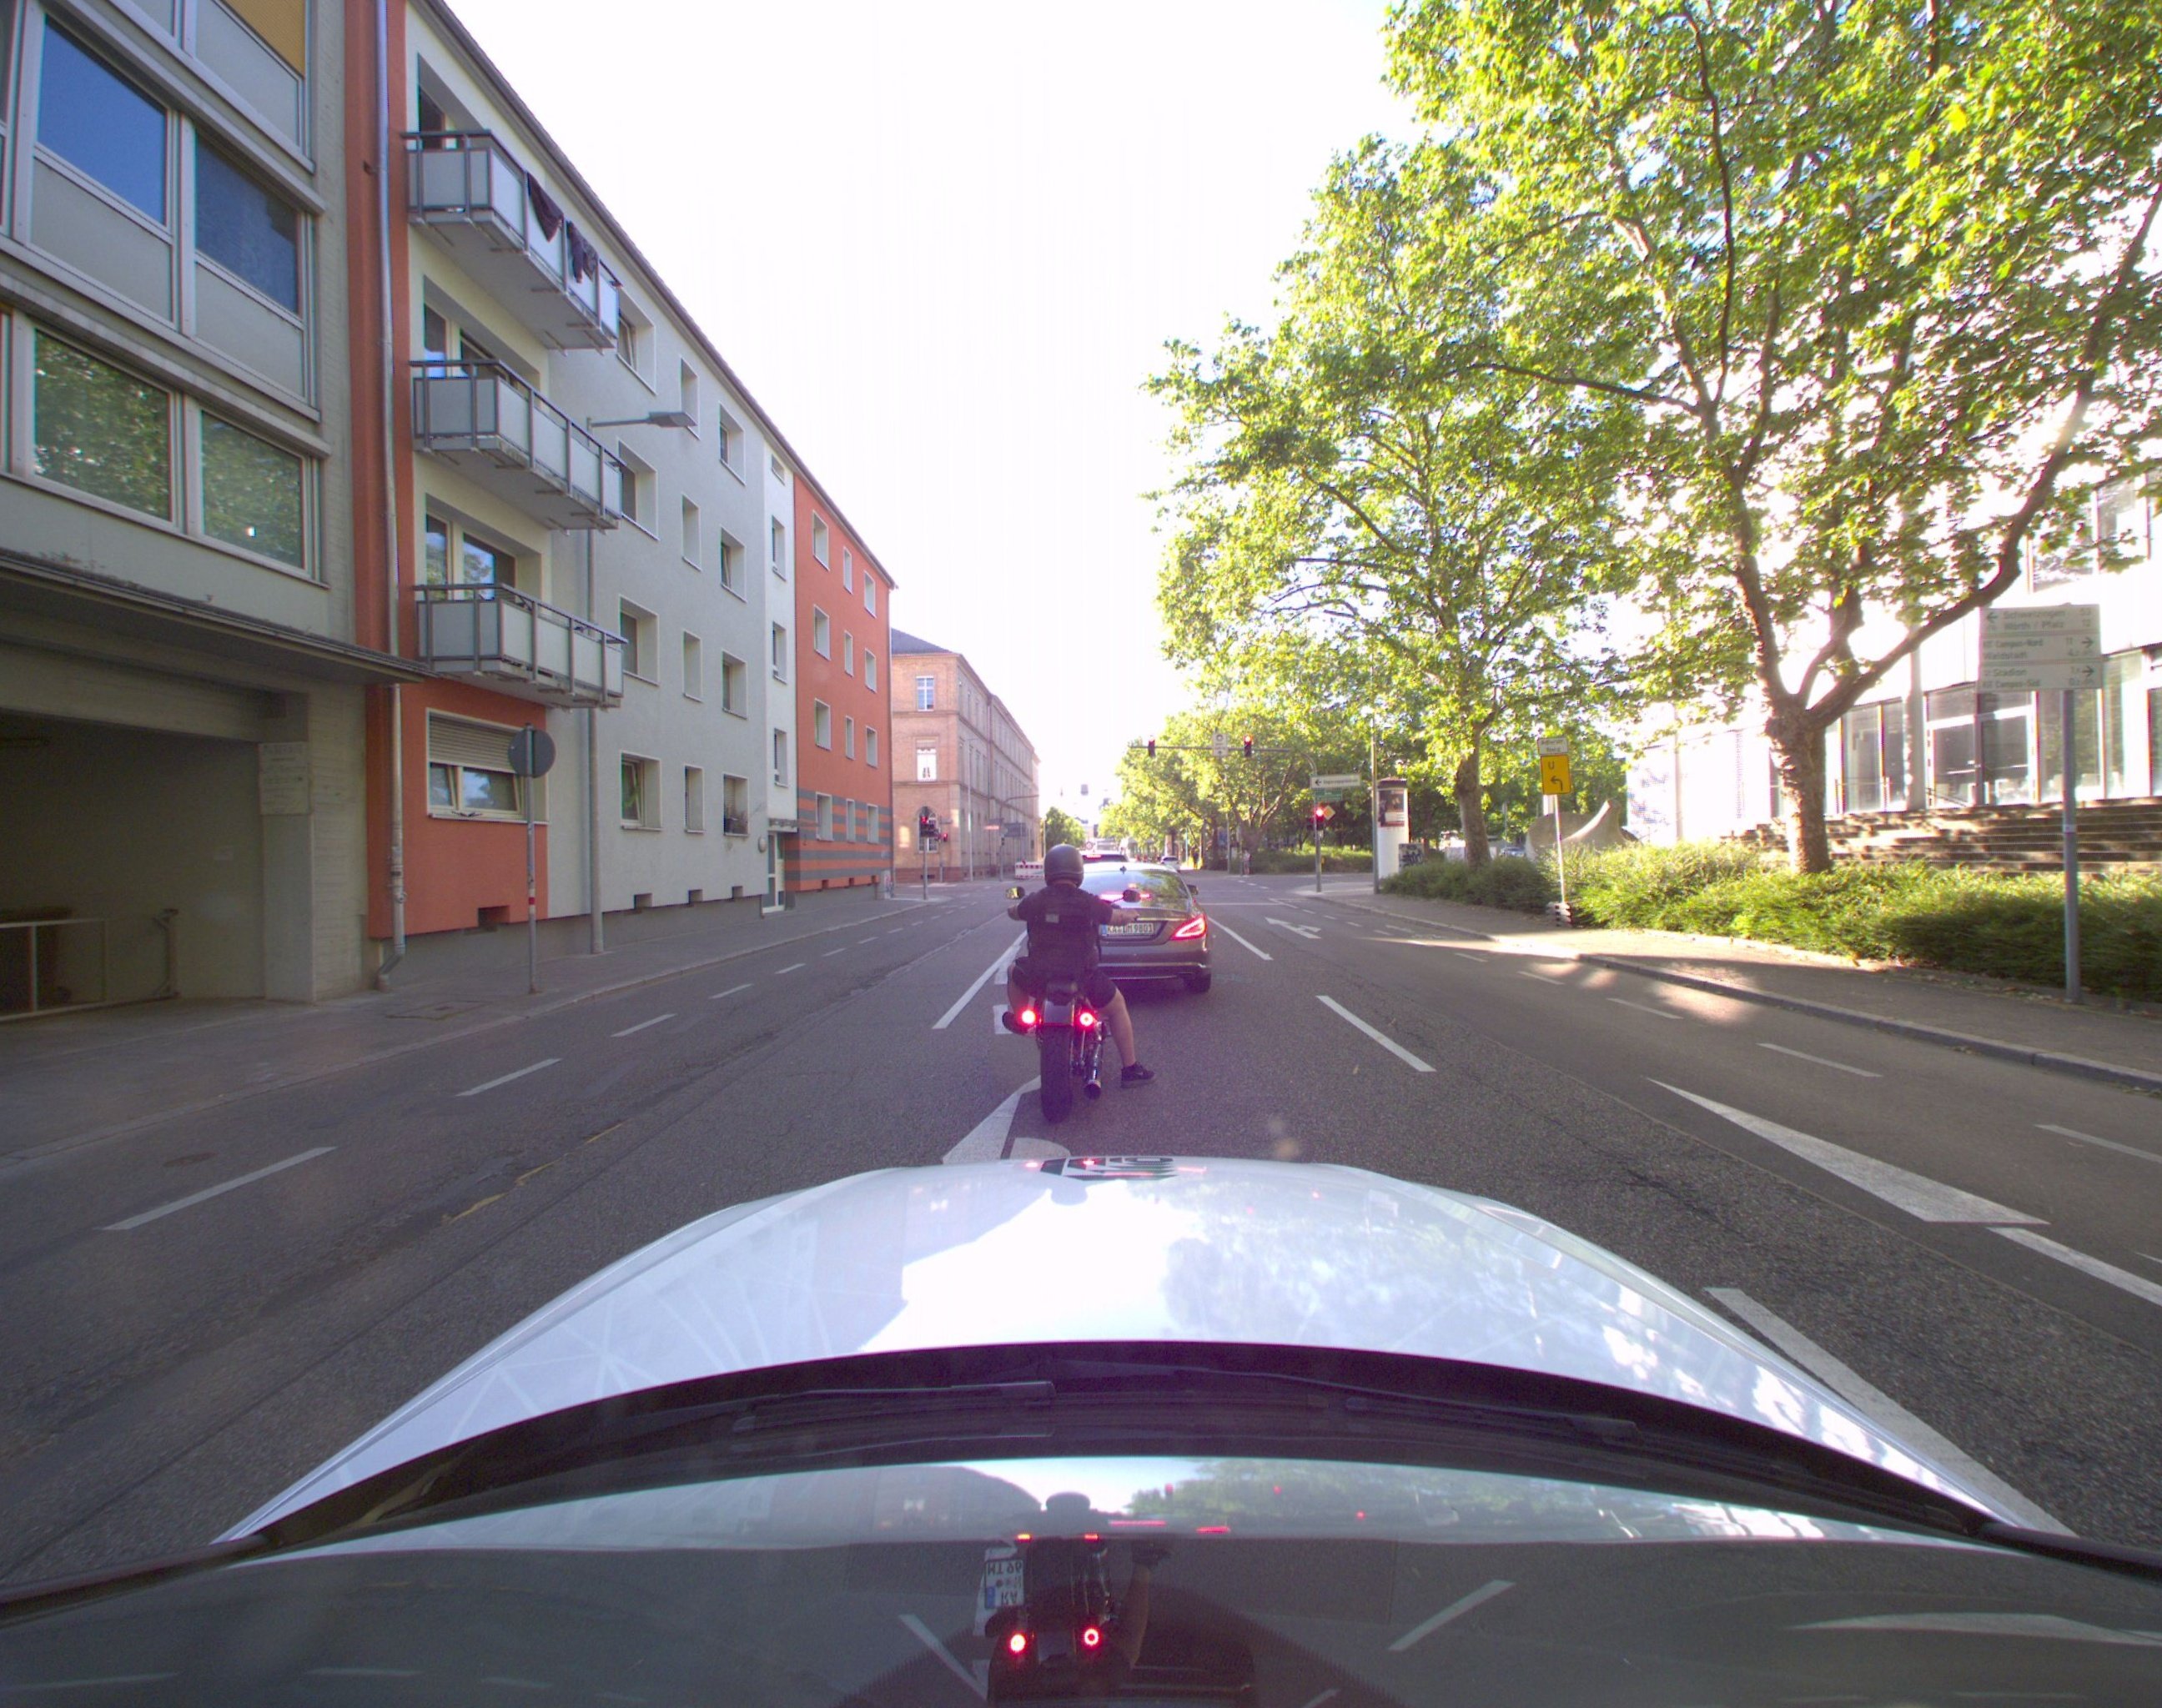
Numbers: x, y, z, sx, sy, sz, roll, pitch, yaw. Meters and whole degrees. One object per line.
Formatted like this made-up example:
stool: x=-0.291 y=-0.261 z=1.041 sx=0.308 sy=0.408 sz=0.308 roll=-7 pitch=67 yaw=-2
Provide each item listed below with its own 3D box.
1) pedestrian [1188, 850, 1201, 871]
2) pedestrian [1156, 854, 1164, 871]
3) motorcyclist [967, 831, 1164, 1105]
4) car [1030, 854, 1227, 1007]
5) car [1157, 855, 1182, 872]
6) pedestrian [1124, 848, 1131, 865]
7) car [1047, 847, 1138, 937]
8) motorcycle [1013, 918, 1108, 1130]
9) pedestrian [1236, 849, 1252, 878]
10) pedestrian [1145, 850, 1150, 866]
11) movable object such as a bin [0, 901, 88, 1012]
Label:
pedestrian: x=10.455 y=0.603 z=74.952 sx=0.753 sy=1.910 sz=0.918 roll=0 pitch=-1 yaw=-26
pedestrian: x=9.299 y=0.964 z=96.122 sx=0.811 sy=2.014 sz=1.271 roll=0 pitch=-1 yaw=2
motorcyclist: x=-0.073 y=0.672 z=5.406 sx=1.145 sy=1.598 sz=1.288 roll=0 pitch=-1 yaw=1
car: x=0.517 y=0.739 z=9.739 sx=1.875 sy=1.449 sz=3.821 roll=0 pitch=0 yaw=2
car: x=7.492 y=0.791 z=69.124 sx=1.769 sy=1.428 sz=3.804 roll=-1 pitch=0 yaw=2
pedestrian: x=5.753 y=0.277 z=100.824 sx=0.761 sy=2.051 sz=0.712 roll=0 pitch=-1 yaw=1
car: x=0.276 y=0.693 z=16.867 sx=1.615 sy=1.594 sz=4.002 roll=-1 pitch=0 yaw=2
motorcycle: x=-0.078 y=1.004 z=5.426 sx=0.511 sy=1.002 sz=2.014 roll=0 pitch=-1 yaw=2
pedestrian: x=10.613 y=0.621 z=53.032 sx=0.996 sy=1.826 sz=1.078 roll=0 pitch=-1 yaw=8
pedestrian: x=8.728 y=0.512 z=106.603 sx=0.654 sy=2.014 sz=0.933 roll=0 pitch=-1 yaw=2
movable object such as a bin: x=-11.257 y=1.066 z=8.643 sx=0.626 sy=1.100 sz=0.659 roll=0 pitch=-1 yaw=4
